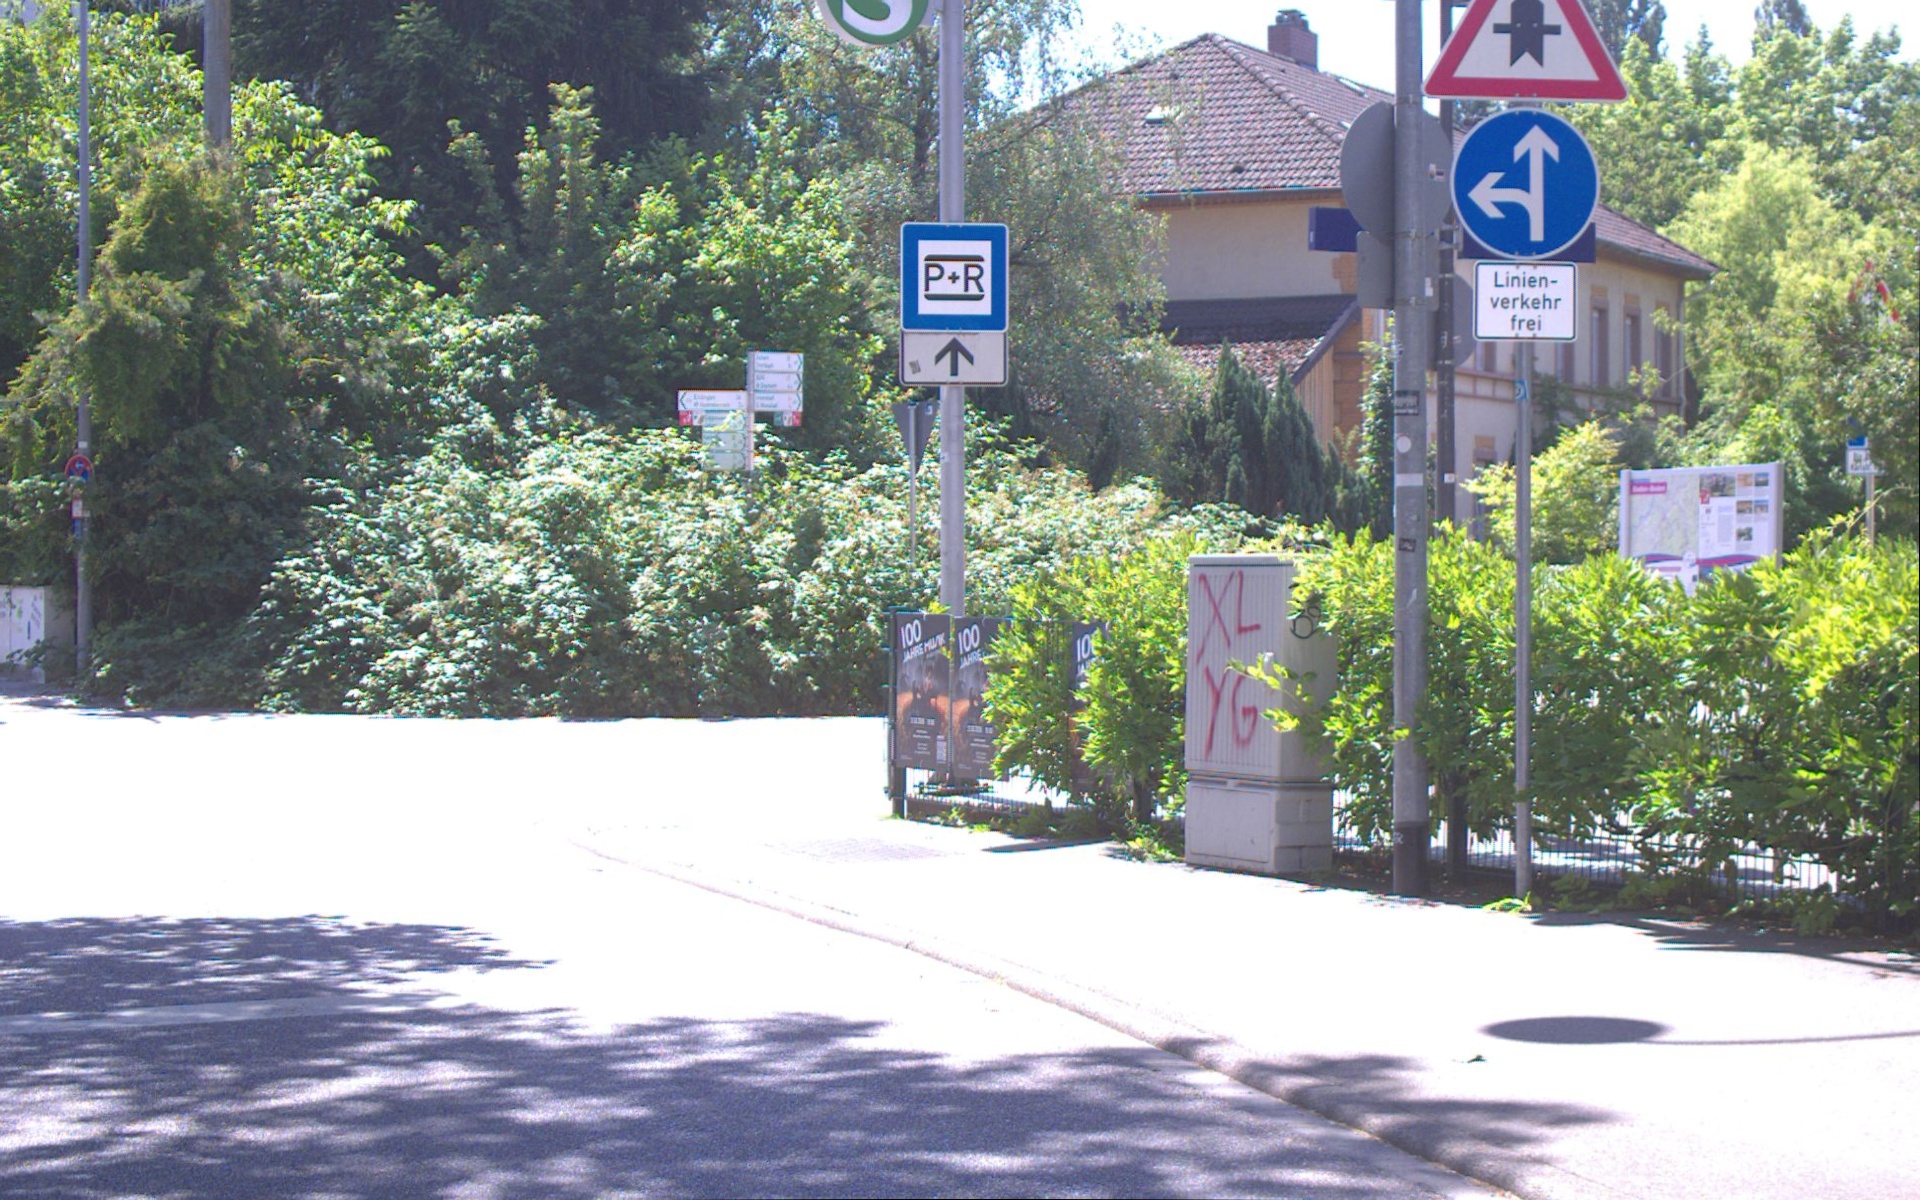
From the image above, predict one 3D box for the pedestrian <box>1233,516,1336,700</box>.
[{"bbox_3d":[2.926,0.061,31.004,0.615,1.622,0.700,0,2,-29],"label":"pedestrian"}]
